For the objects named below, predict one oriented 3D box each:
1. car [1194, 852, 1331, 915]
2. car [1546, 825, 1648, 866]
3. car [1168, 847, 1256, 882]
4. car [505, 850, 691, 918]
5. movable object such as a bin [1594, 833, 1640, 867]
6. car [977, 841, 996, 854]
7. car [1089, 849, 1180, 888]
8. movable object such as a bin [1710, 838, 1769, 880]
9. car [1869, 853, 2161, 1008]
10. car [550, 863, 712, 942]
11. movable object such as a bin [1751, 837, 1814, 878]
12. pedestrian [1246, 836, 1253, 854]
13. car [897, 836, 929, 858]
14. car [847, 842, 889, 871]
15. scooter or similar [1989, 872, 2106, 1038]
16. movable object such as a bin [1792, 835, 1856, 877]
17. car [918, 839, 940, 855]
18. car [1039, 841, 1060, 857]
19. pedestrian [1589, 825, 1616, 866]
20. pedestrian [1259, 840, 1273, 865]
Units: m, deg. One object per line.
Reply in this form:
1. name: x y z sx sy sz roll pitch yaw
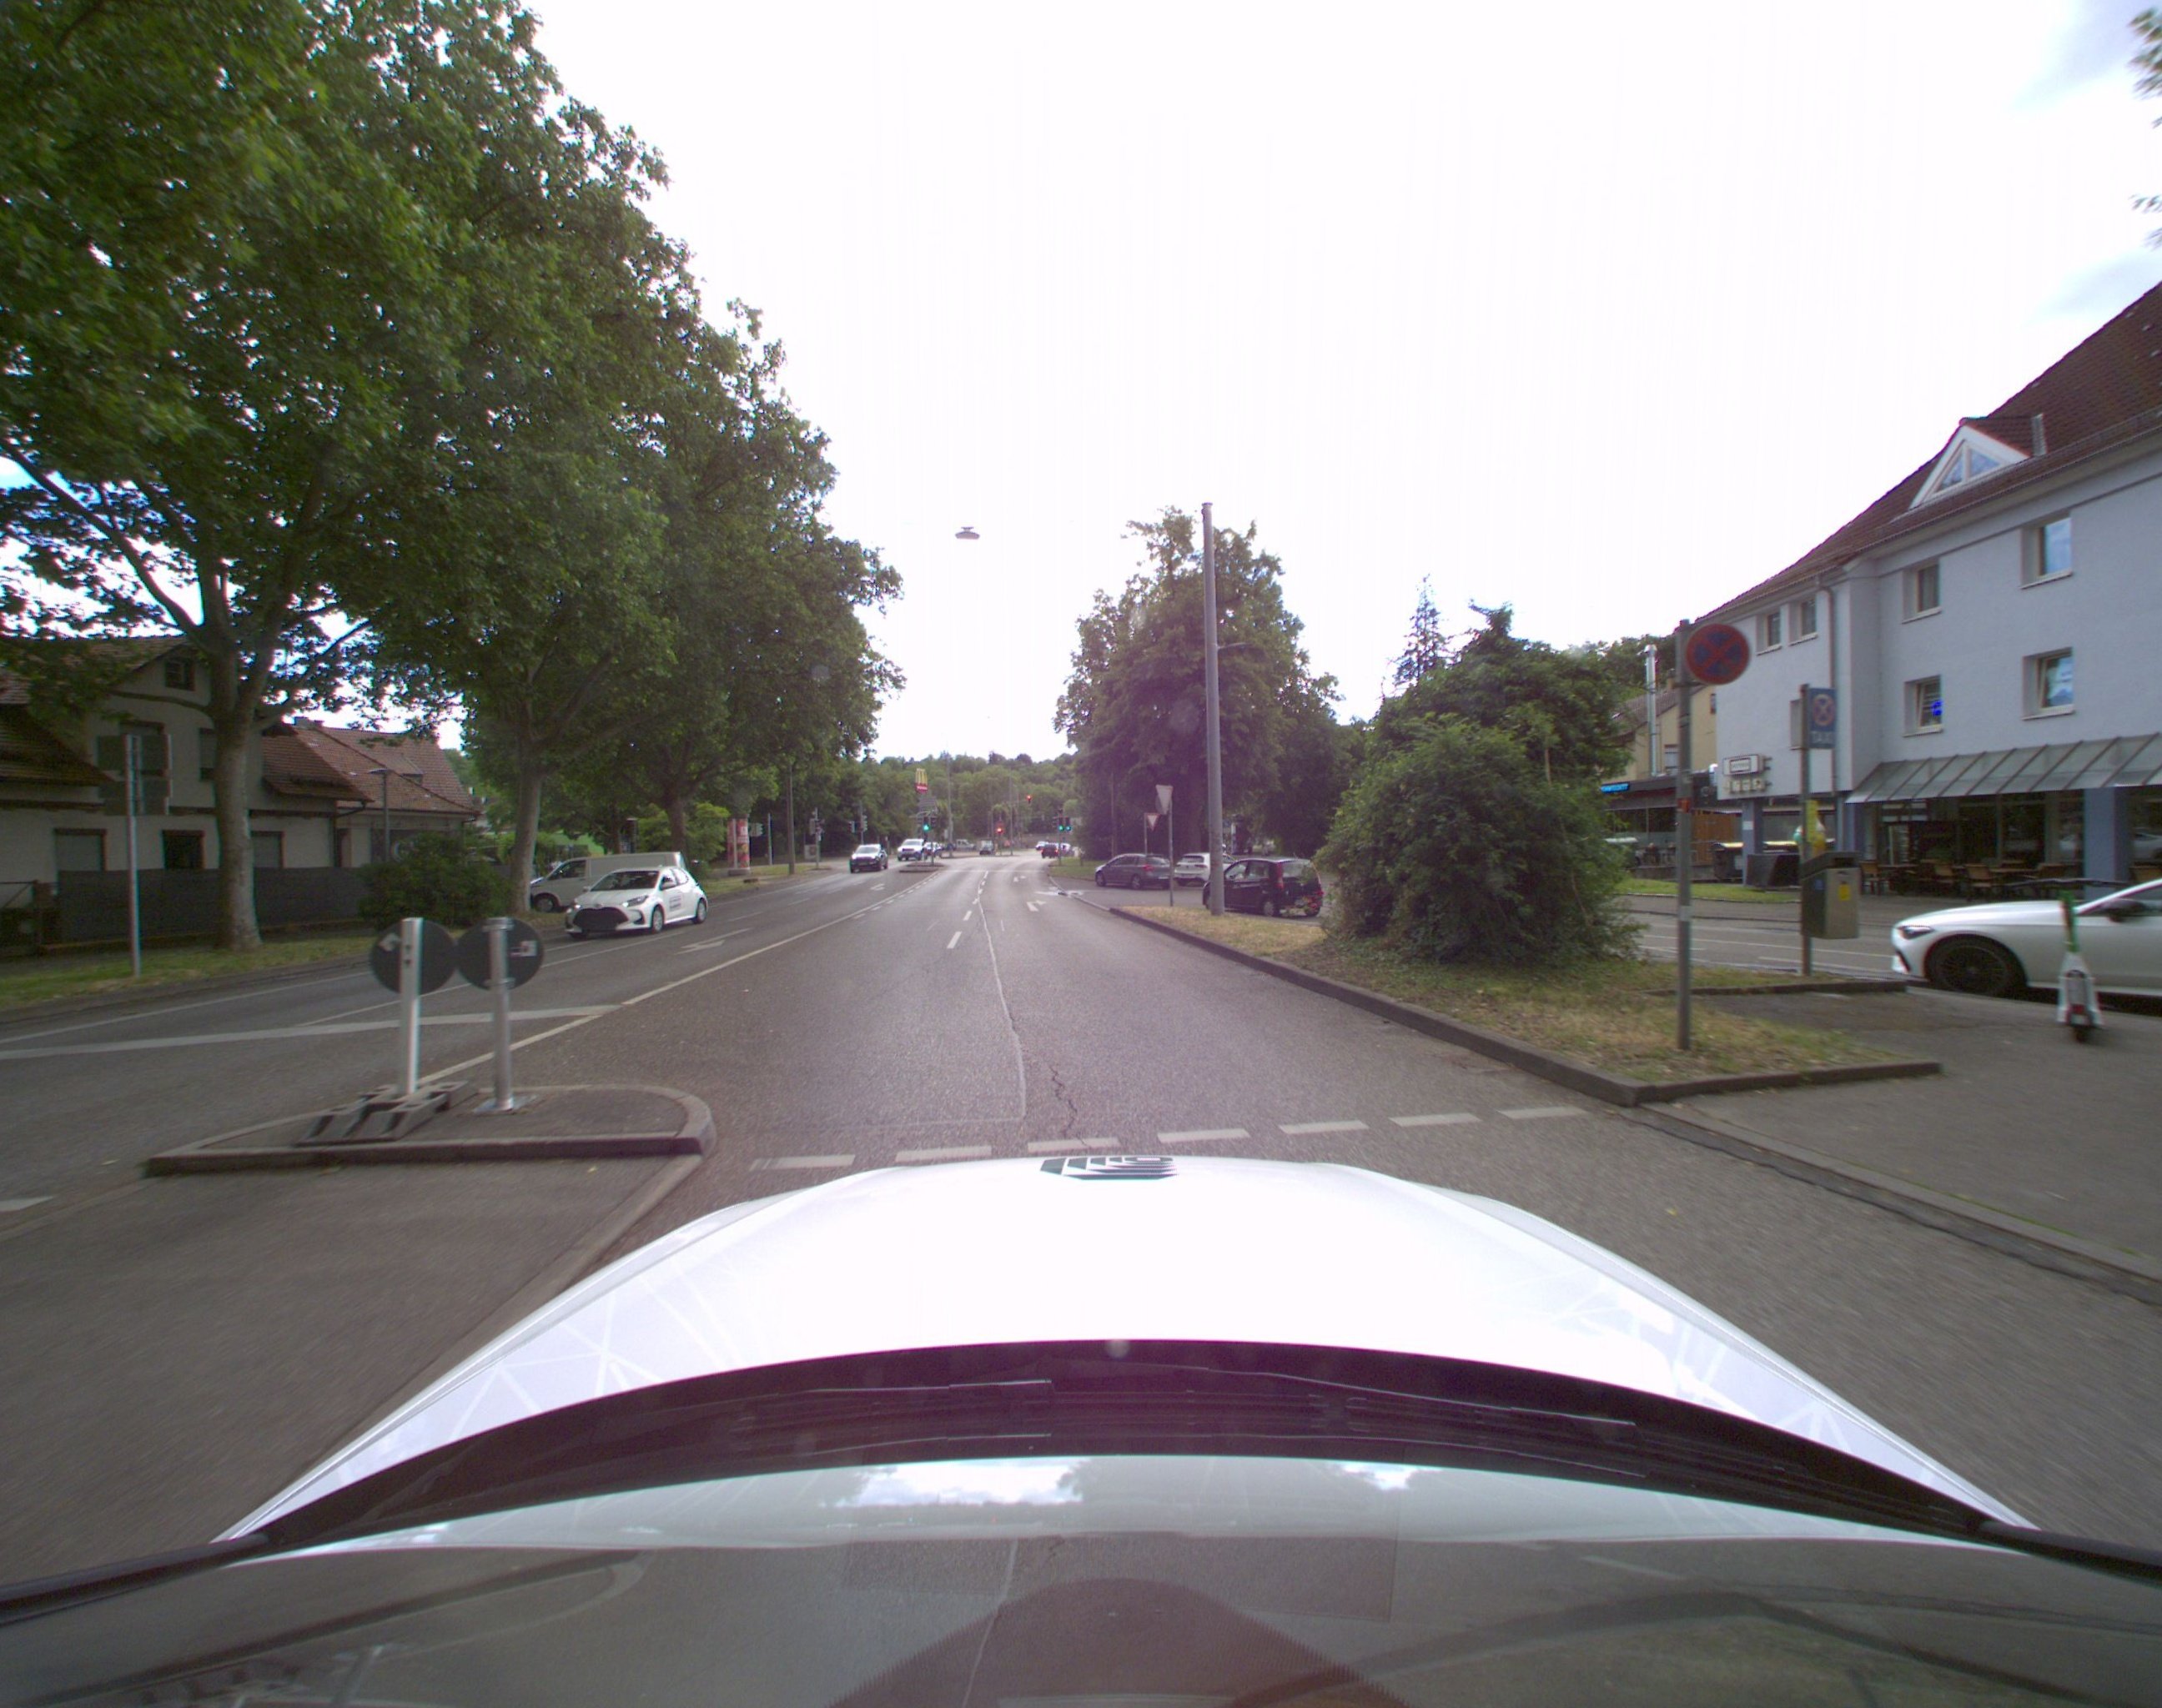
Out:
1. car: 4.580 0.690 21.006 1.577 1.404 3.463 -2 1 -28
2. car: 22.610 -0.369 35.785 3.396 1.630 1.627 -2 0 6
3. car: 5.830 0.430 35.892 1.742 1.380 4.288 0 1 43
4. car: -16.998 0.985 29.035 5.242 1.931 2.071 -4 1 -19
5. movable object such as a bin: 22.270 -0.151 33.855 1.212 1.345 0.995 -2 0 0
6. car: -11.941 -0.839 102.766 1.560 1.526 3.196 -1 2 7
7. car: 2.218 0.559 34.635 1.741 1.429 4.069 -2 2 -35
8. movable object such as a bin: 23.161 0.163 28.685 1.207 1.416 1.098 -2 0 10
9. car: 11.053 0.705 7.718 2.002 1.386 4.751 -2 0 -23
10. car: -10.063 1.000 18.594 1.760 1.466 4.013 -3 0 -6
11. movable object such as a bin: 24.493 0.117 28.463 1.207 1.395 1.164 -2 0 10
12. pedestrian: 14.389 -0.744 69.448 0.507 1.531 0.780 -1 0 9
13. car: -14.200 -0.630 69.031 1.907 1.763 4.748 -2 2 -3
14. car: -13.415 0.135 51.505 1.794 1.586 4.407 -4 2 -6
15. scooter or similar: 7.498 0.728 6.307 1.367 1.167 0.408 1 -1 -33
16. movable object such as a bin: 25.779 0.073 28.272 1.207 1.395 1.098 -2 0 10
17. car: -14.717 -0.702 79.071 1.565 1.382 3.945 -3 2 -4
18. car: -3.096 -0.542 80.838 1.816 1.509 4.575 -2 1 1
19. pedestrian: 22.355 -0.367 34.906 0.685 1.729 0.611 -2 0 0
20. pedestrian: 11.685 -0.121 51.344 0.681 1.551 0.743 -1 1 0
